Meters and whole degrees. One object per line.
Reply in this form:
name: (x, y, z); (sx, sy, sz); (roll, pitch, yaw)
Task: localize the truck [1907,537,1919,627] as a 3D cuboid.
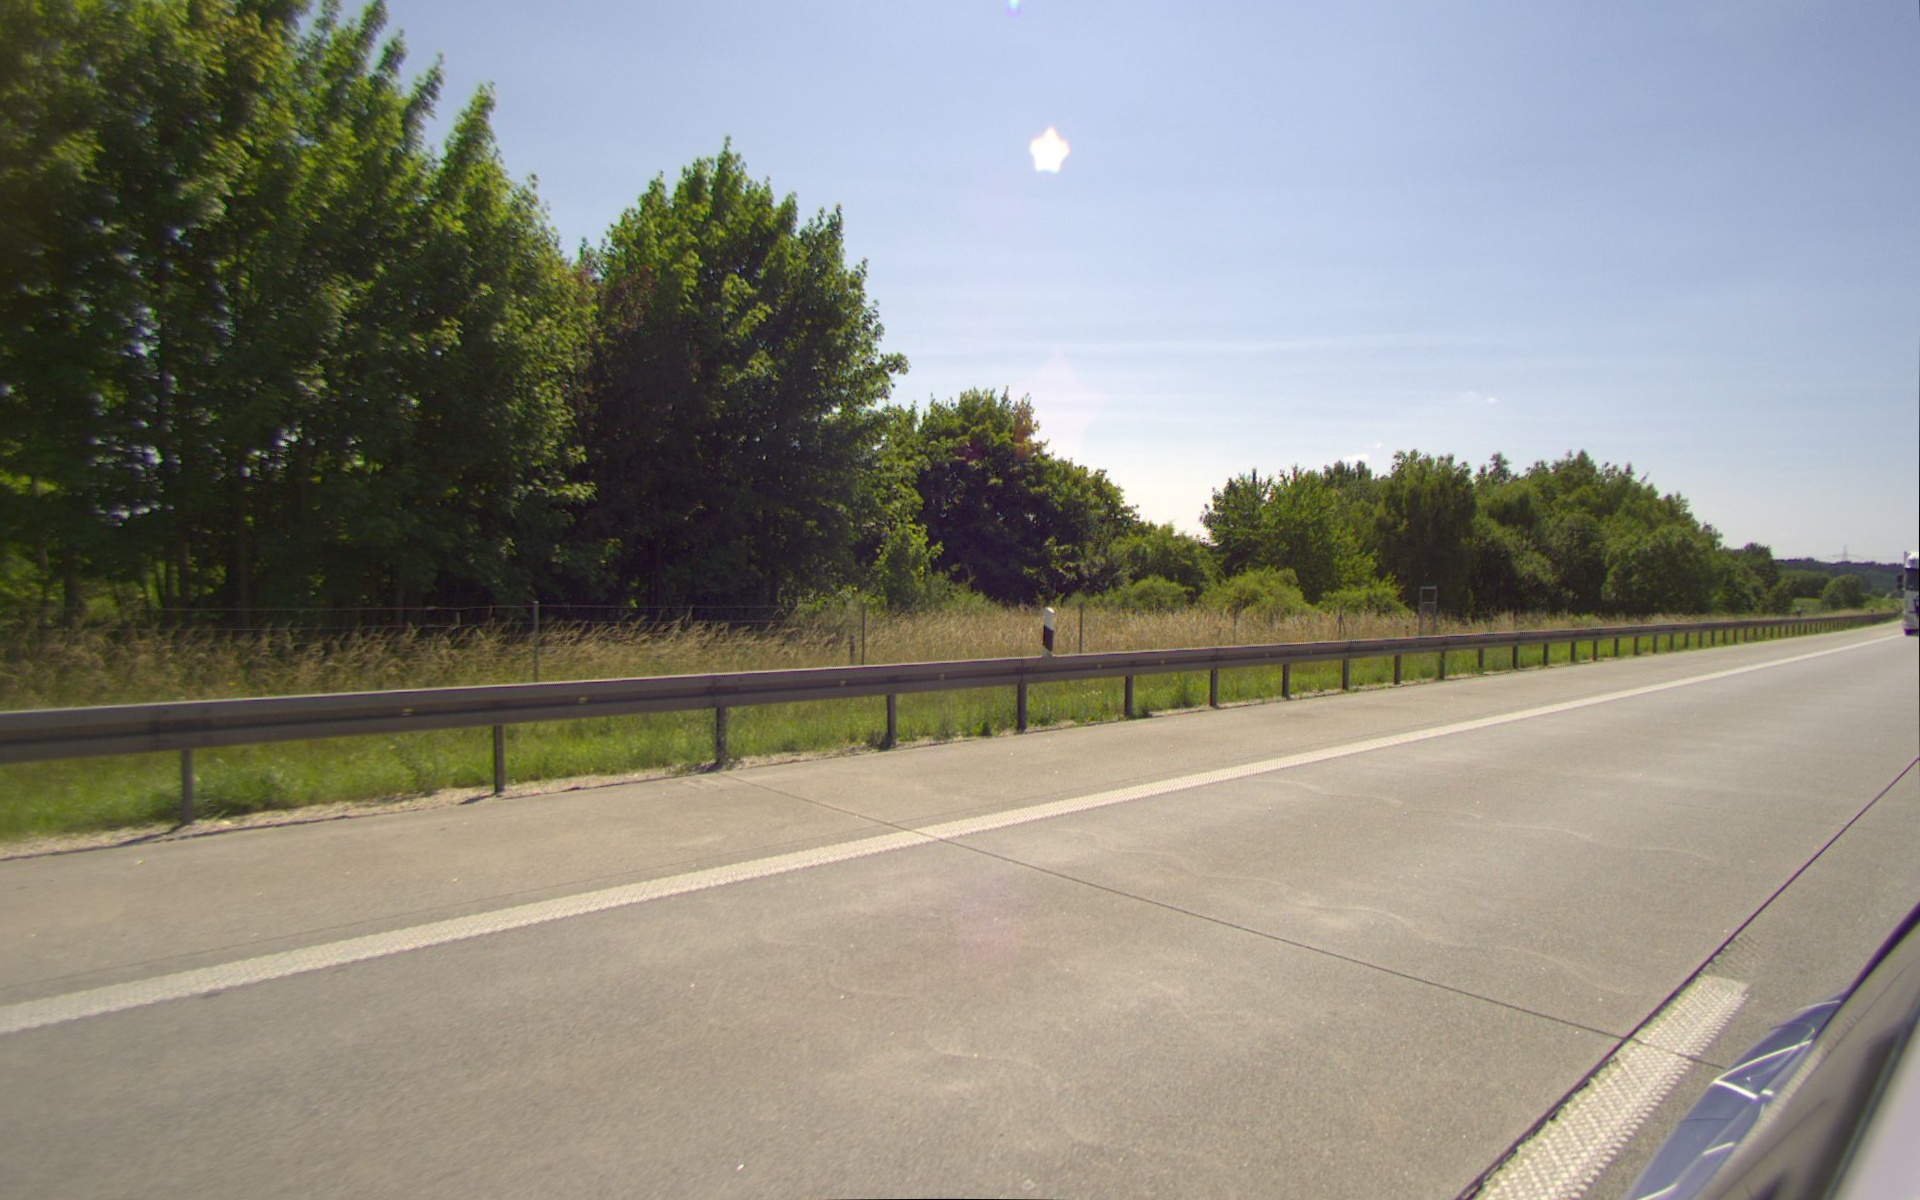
truck: (47.076, -0.820, 48.134); (5.704, 4.139, 2.813); (0, 0, -45)

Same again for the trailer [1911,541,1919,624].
trailer: (52.275, -0.858, 53.408); (2.853, 4.093, 12.509); (0, 0, 44)
